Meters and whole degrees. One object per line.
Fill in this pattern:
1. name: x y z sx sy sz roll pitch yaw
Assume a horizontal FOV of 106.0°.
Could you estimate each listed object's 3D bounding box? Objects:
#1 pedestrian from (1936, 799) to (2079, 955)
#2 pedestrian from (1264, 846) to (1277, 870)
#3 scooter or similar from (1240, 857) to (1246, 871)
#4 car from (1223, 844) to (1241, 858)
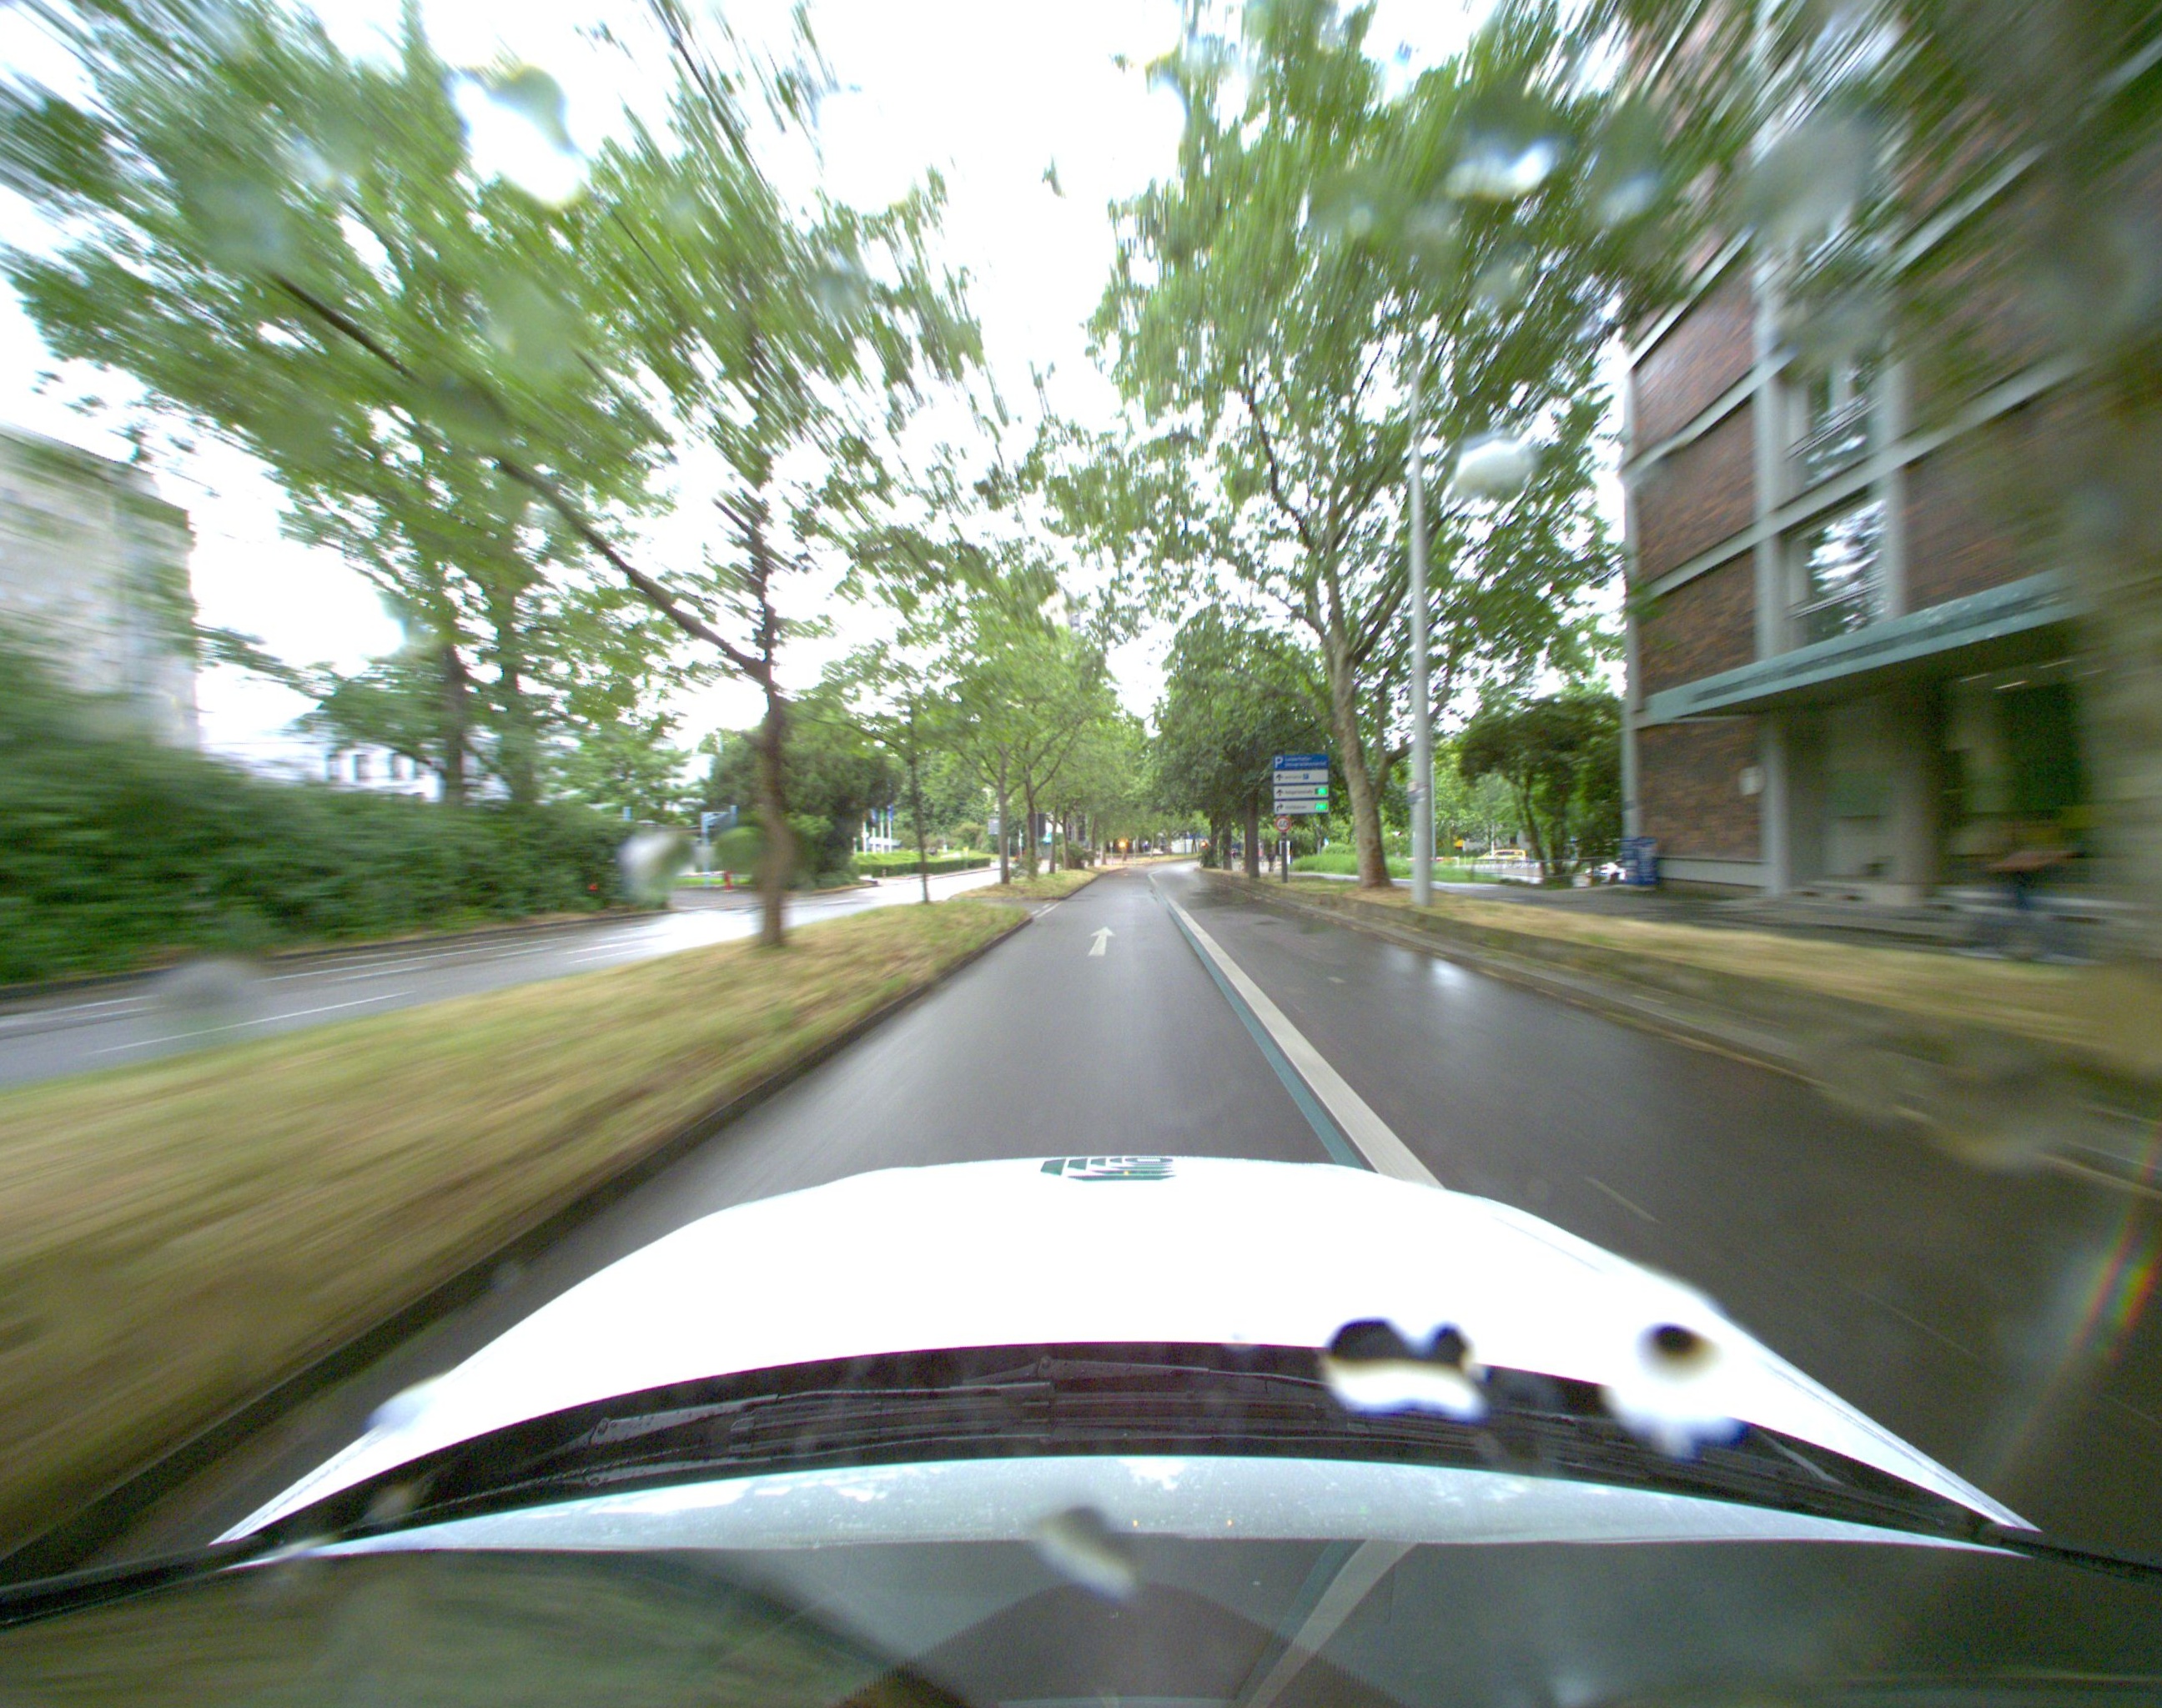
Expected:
1. pedestrian: 10.259 0.241 9.056 0.518 1.639 0.935 -1 0 2
2. pedestrian: 13.177 0.284 56.558 0.700 1.639 0.935 -1 0 2
3. scooter or similar: 12.157 0.714 61.162 0.291 1.025 1.066 -1 0 2
4. car: 23.249 -0.456 125.540 1.976 2.013 4.021 -1 0 21
